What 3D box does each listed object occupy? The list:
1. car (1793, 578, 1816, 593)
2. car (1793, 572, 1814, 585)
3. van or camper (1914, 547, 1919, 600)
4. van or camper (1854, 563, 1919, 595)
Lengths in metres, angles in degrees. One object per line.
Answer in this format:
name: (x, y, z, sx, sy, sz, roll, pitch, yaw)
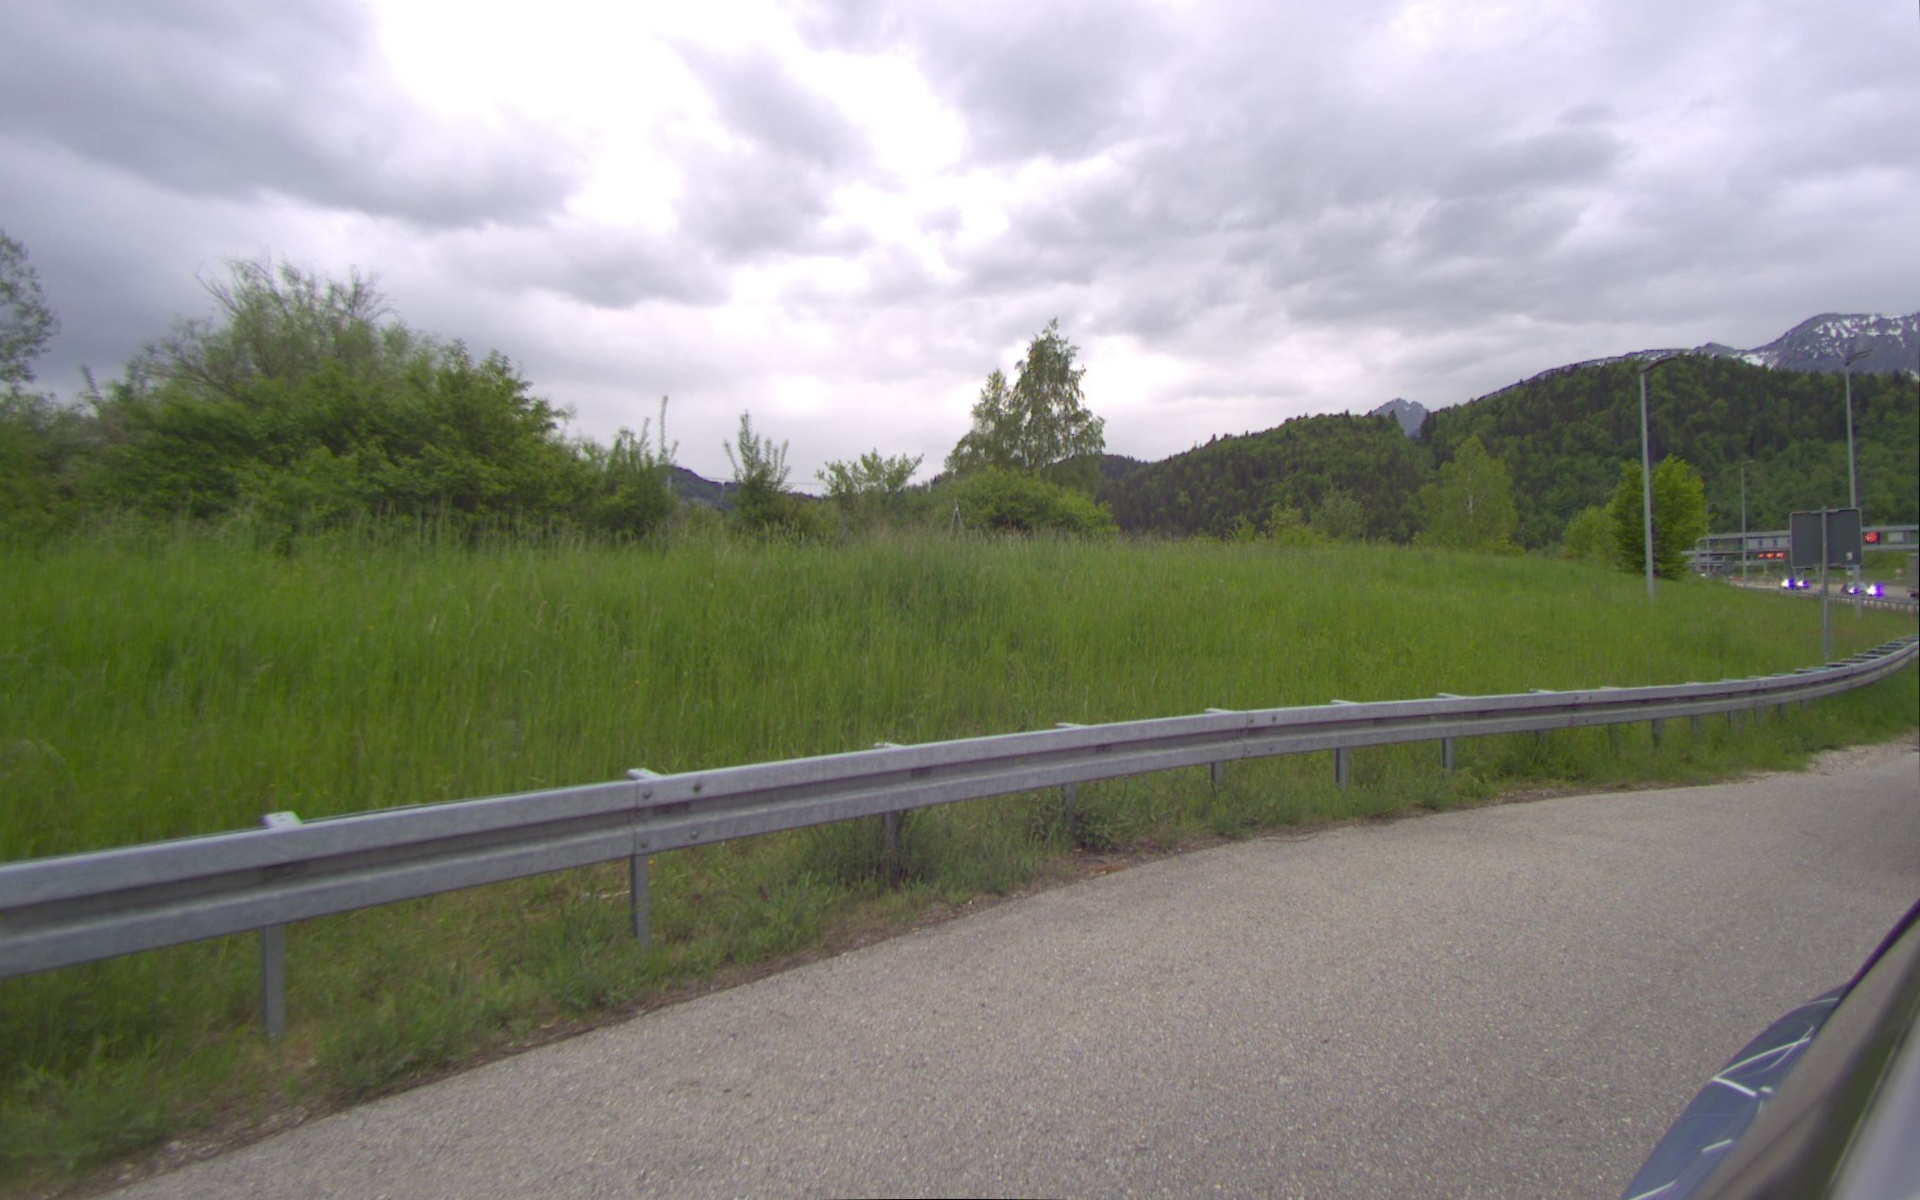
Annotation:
car: (107.300, -1.818, 128.674, 1.855, 1.895, 3.951, 1, 1, 35)
car: (108.475, -2.806, 130.185, 1.711, 1.659, 4.293, 1, 2, 35)
van or camper: (63.276, -1.697, 64.371, 2.566, 3.434, 7.266, 1, 1, 34)
van or camper: (82.770, -1.898, 90.353, 3.321, 2.677, 8.102, 1, 2, 34)
